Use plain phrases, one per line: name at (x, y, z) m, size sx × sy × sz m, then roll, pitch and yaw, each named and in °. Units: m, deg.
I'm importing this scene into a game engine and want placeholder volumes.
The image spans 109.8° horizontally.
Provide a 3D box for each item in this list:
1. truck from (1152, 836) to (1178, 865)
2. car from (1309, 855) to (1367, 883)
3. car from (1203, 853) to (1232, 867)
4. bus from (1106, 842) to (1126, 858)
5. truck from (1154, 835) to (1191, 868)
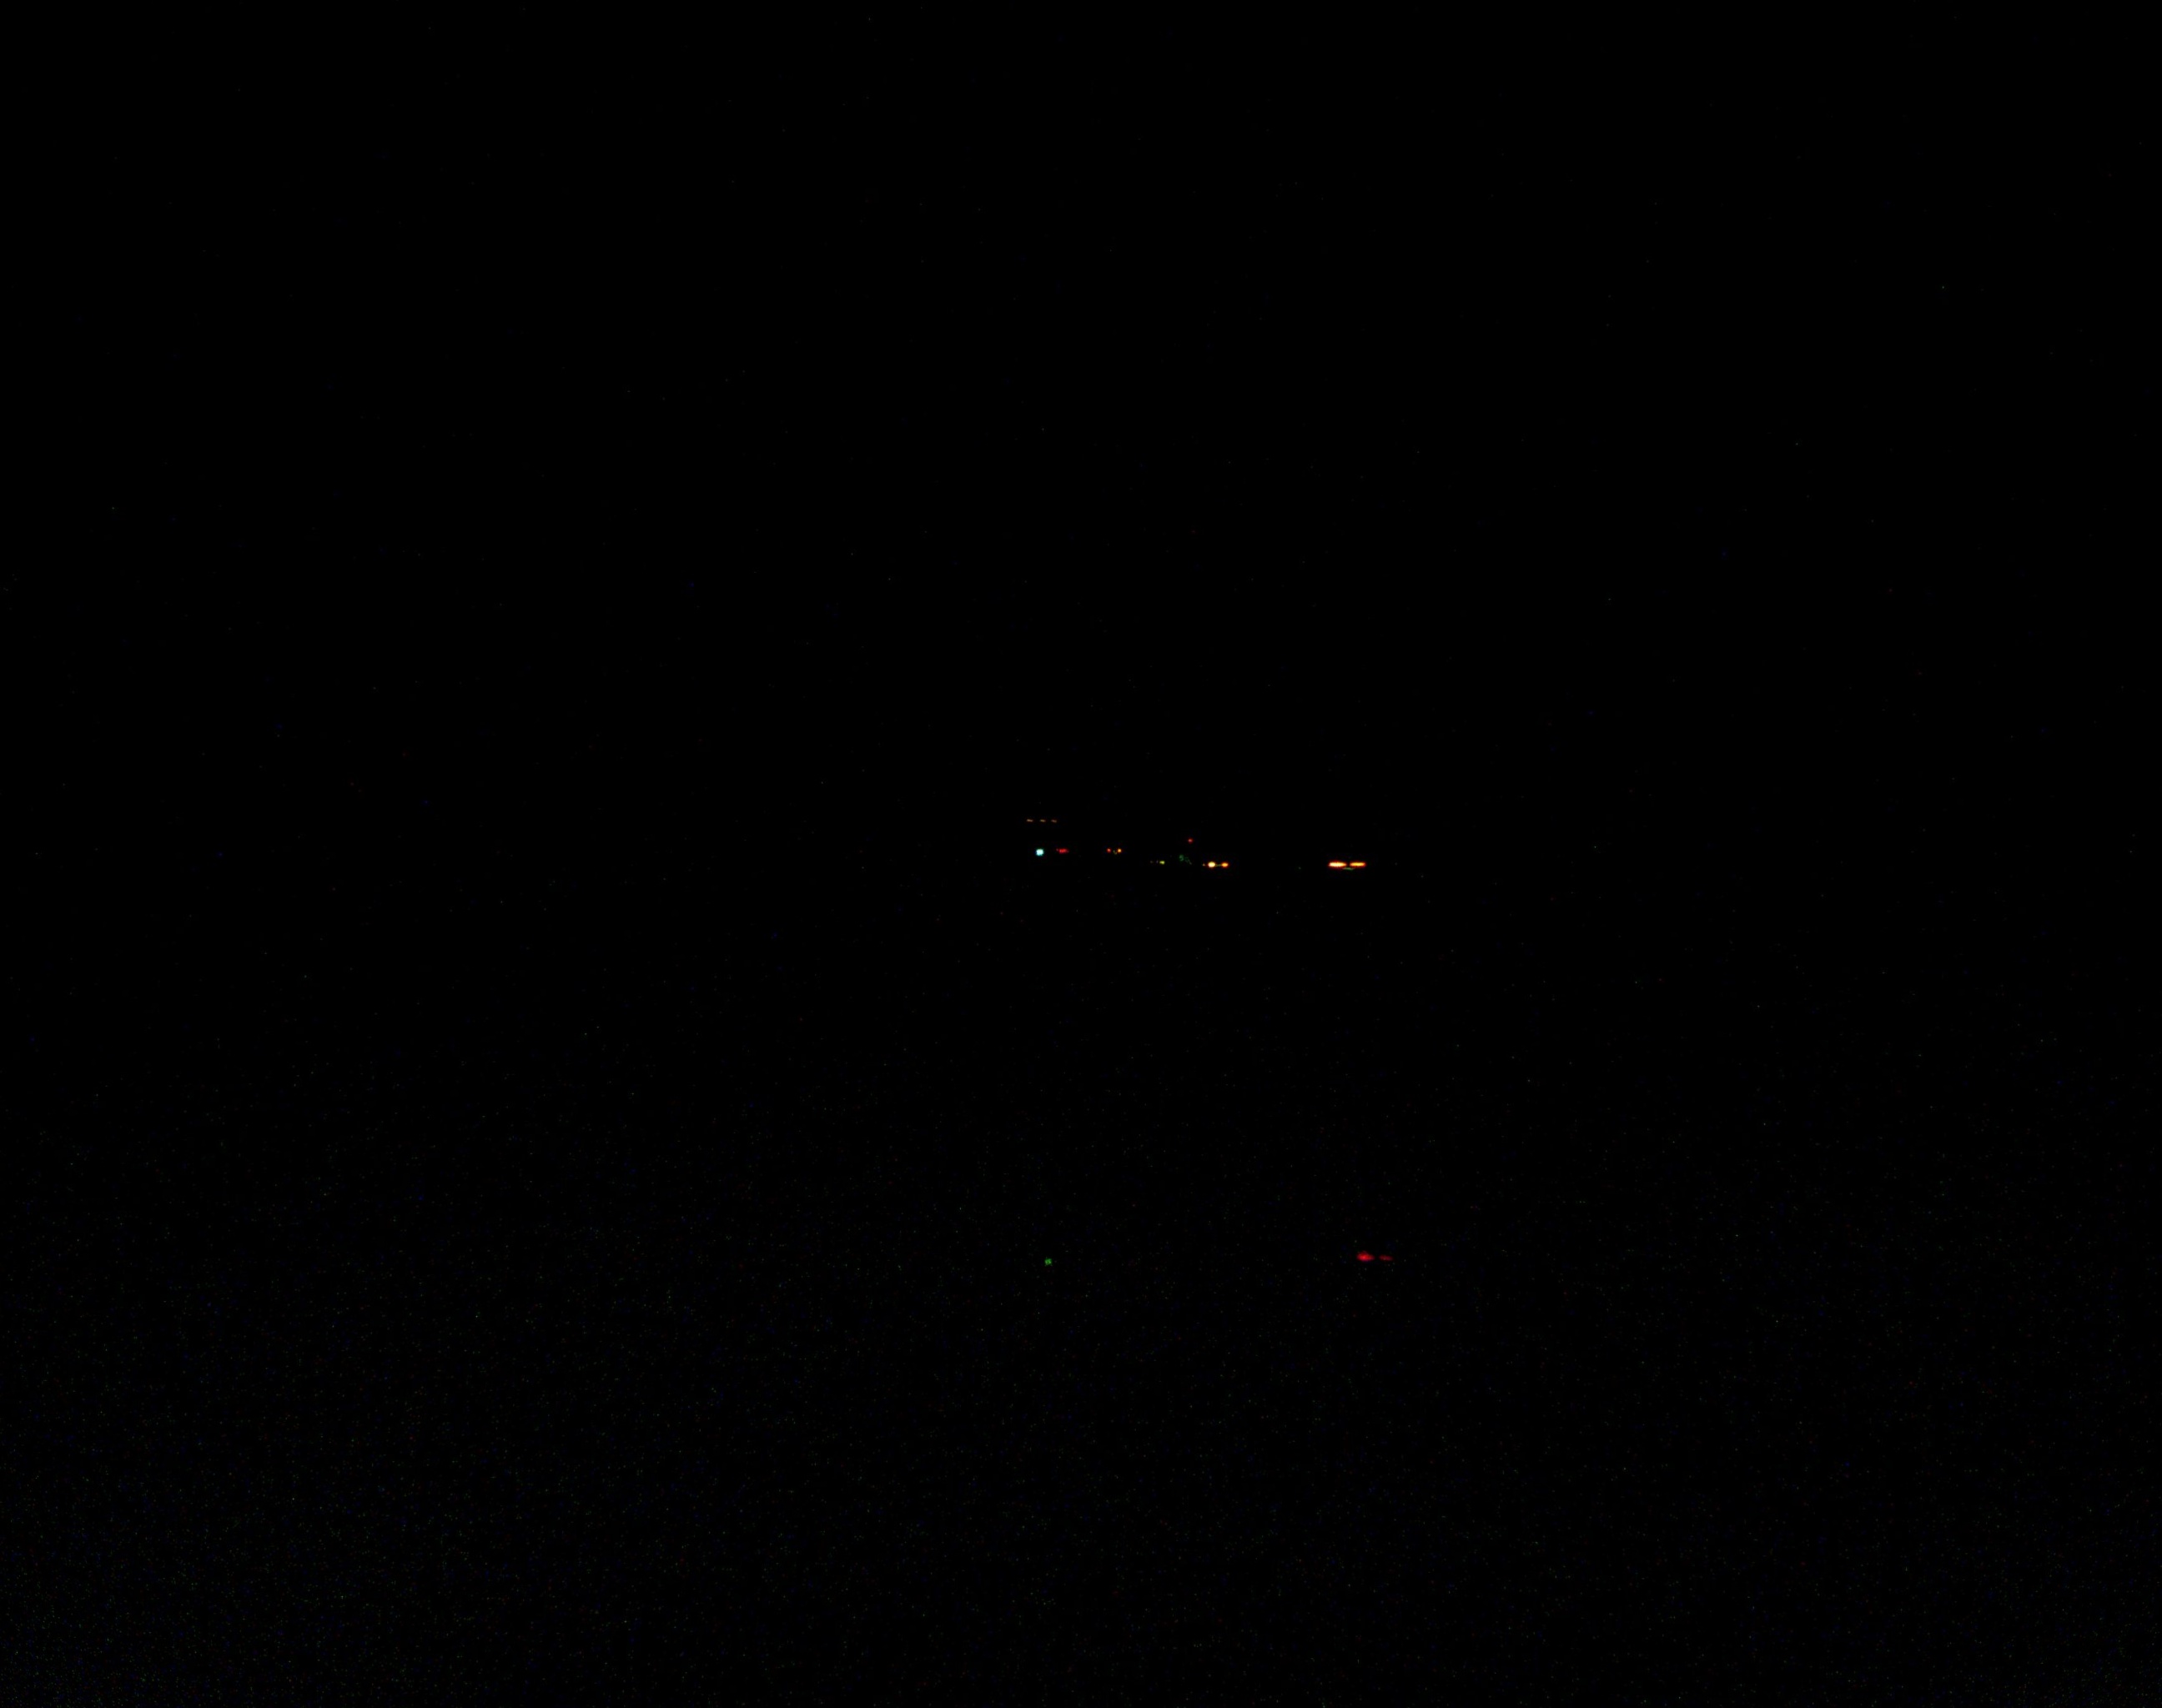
truck at (12.100, -0.550, 109.882) m, size 2.781 × 4.119 × 6.672 m, roll 0°, pitch 1°, yaw -2°
car at (15.155, 0.833, 44.992) m, size 1.998 × 1.548 × 4.294 m, roll 0°, pitch 0°, yaw 0°
car at (13.102, 0.533, 73.172) m, size 1.998 × 1.264 × 4.294 m, roll 0°, pitch 0°, yaw 0°
bus at (6.915, -0.760, 152.216) m, size 2.793 × 3.092 × 12.512 m, roll 0°, pitch 0°, yaw -3°
truck at (12.359, -0.386, 103.748) m, size 2.753 × 4.103 × 13.904 m, roll 0°, pitch 0°, yaw -2°
